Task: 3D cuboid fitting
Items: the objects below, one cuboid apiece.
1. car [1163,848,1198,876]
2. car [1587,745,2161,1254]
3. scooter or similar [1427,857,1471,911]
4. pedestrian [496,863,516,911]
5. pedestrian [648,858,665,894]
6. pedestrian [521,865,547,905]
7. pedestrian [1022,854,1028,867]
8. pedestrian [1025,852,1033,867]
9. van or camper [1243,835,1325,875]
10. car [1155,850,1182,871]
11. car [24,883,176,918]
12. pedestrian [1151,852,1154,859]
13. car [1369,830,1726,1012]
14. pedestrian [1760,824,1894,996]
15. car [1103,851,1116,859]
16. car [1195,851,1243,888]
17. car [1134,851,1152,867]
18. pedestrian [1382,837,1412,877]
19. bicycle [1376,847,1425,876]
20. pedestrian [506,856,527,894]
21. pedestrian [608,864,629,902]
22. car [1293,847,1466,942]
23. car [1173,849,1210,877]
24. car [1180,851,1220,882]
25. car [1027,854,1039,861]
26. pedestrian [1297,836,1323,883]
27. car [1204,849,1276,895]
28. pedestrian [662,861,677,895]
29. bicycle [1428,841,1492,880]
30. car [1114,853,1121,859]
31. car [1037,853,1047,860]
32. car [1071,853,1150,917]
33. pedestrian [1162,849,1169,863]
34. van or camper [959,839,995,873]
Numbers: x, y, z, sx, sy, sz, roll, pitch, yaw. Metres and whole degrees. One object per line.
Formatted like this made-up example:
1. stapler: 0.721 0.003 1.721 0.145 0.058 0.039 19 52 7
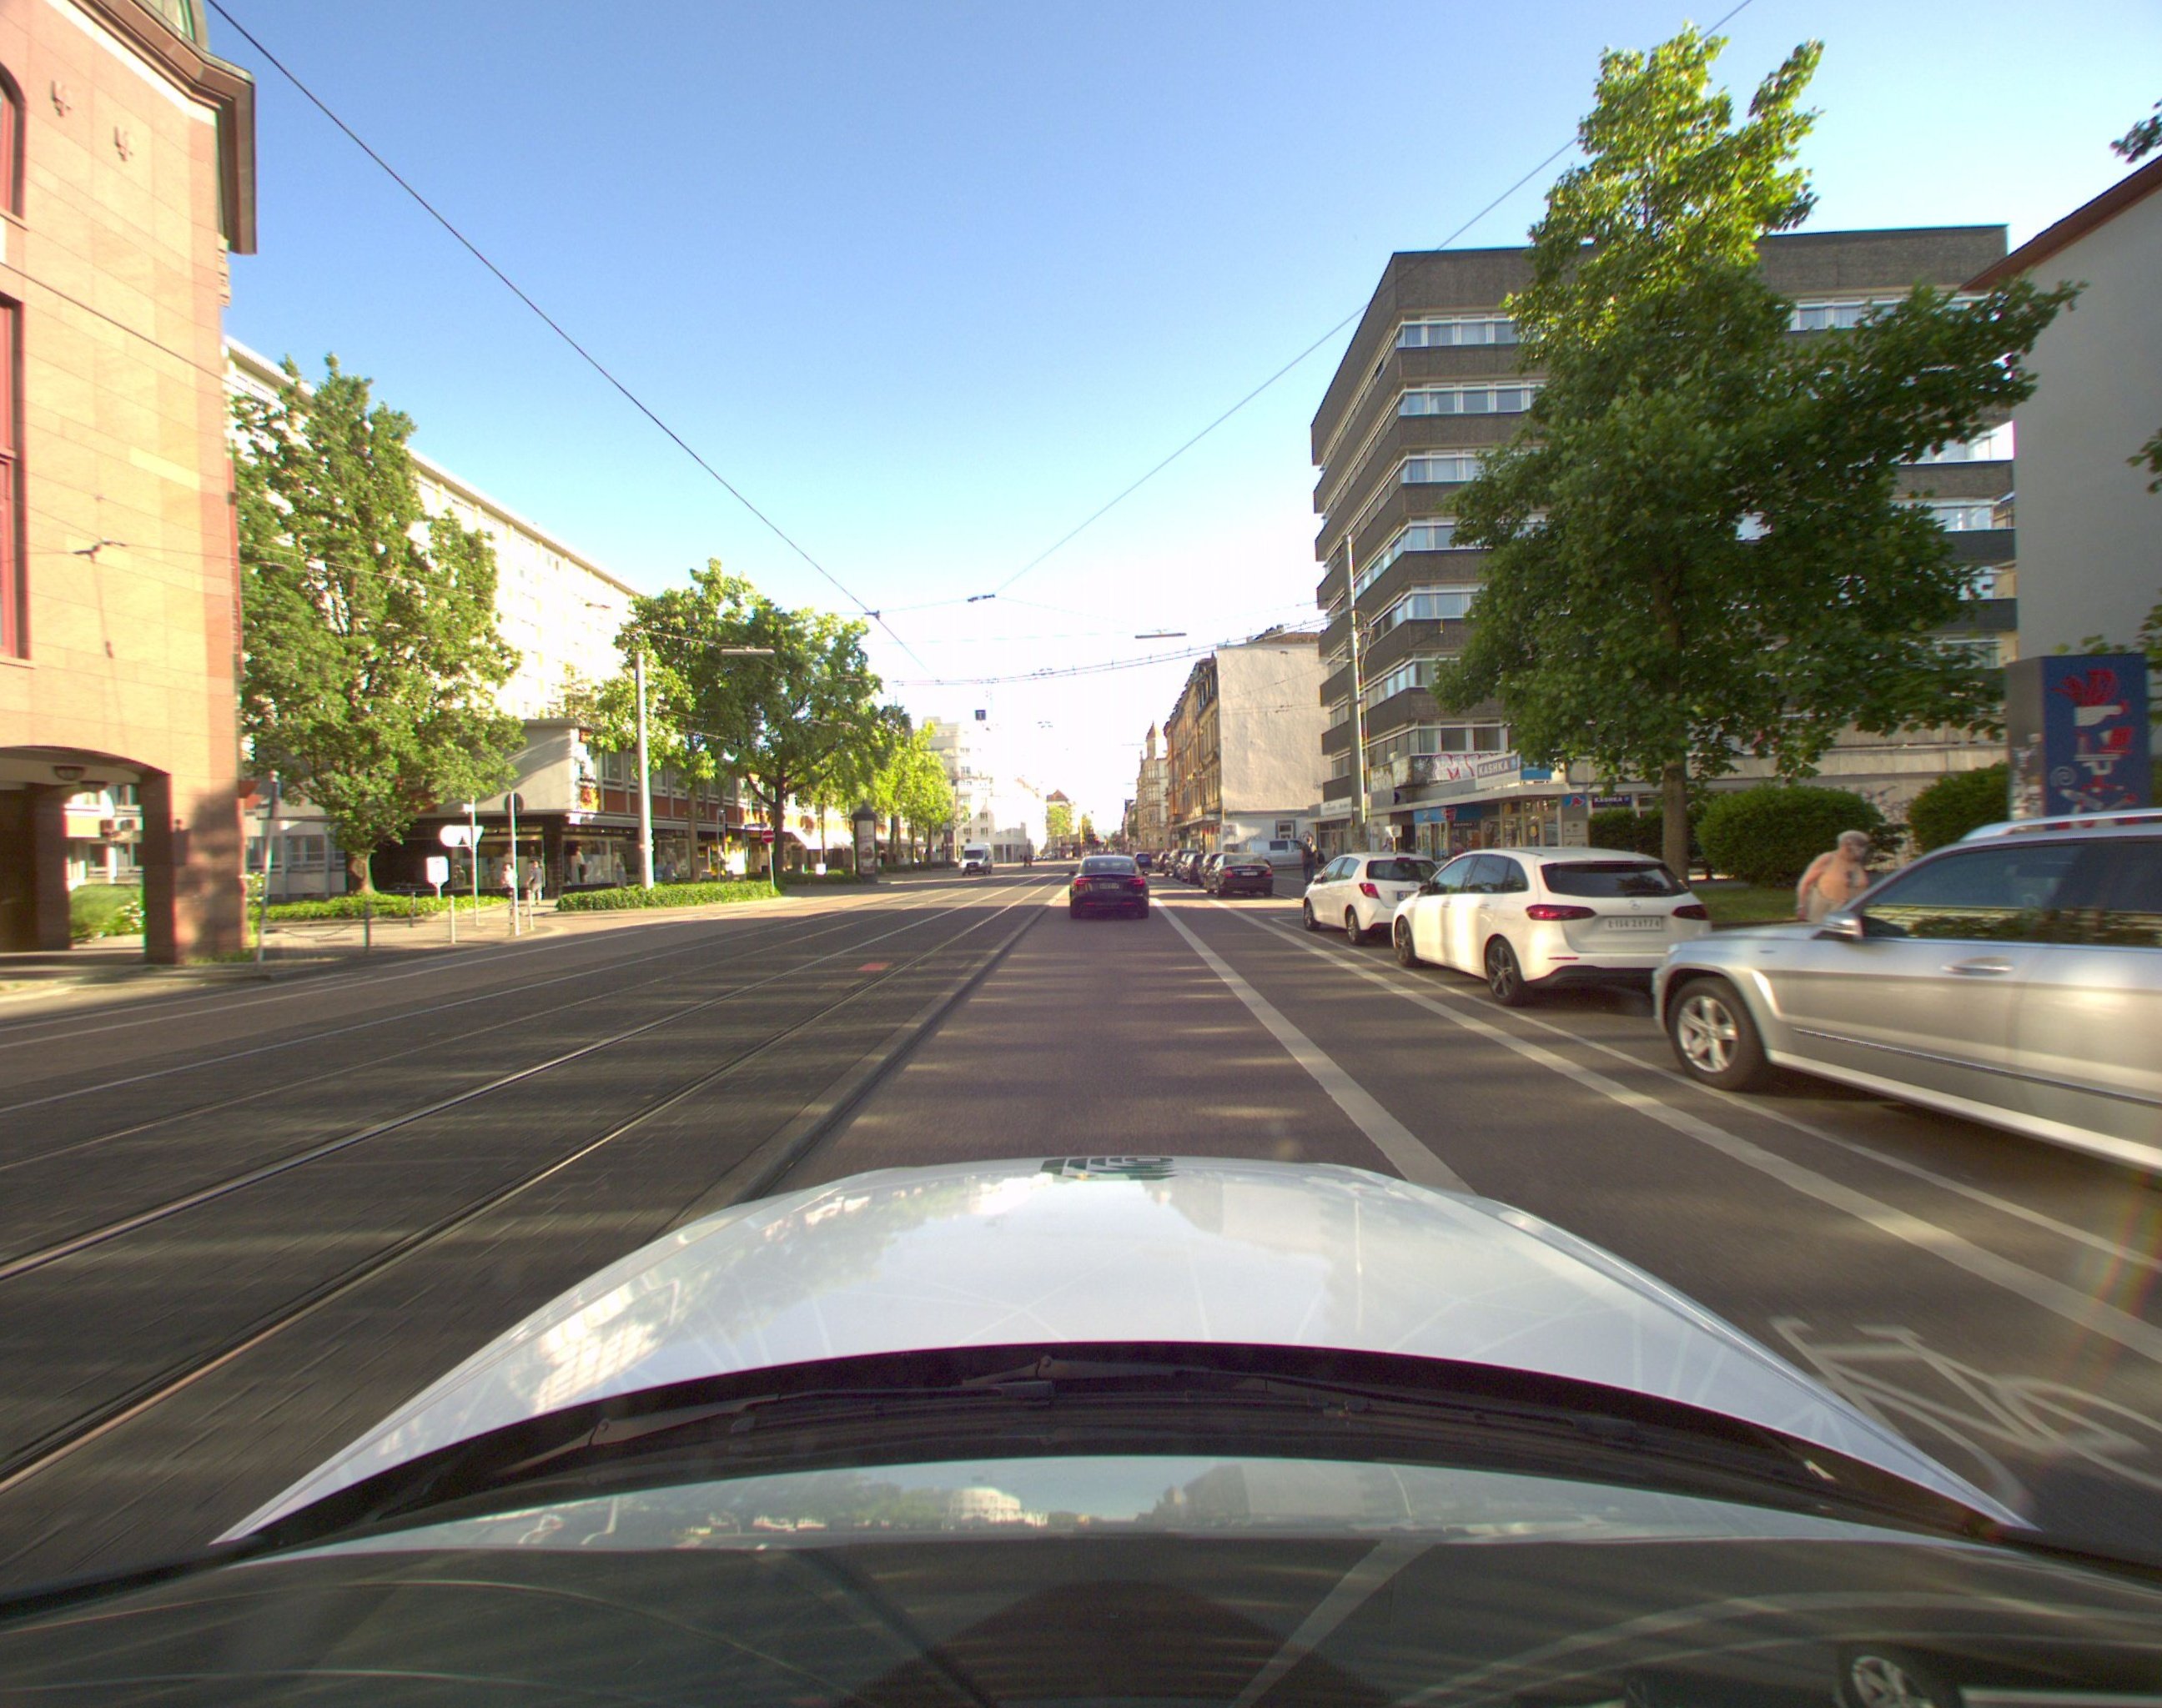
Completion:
1. car: 6.063 0.503 49.875 1.822 1.628 4.097 -1 -1 3
2. car: 4.838 0.518 3.859 1.919 1.834 4.710 0 0 -1
3. scooter or similar: 9.070 0.724 20.118 0.534 1.234 1.362 -6 -1 10
4. pedestrian: -25.624 1.460 36.278 0.607 2.066 0.660 1 0 -43
5. pedestrian: -22.244 1.171 42.674 0.590 1.872 0.537 0 0 -7
6. pedestrian: -23.729 1.335 35.302 0.517 1.694 0.714 -3 0 25
7. pedestrian: -6.656 0.745 97.488 0.700 1.501 0.794 -1 -1 -3
8. pedestrian: -6.010 0.629 94.488 0.841 1.695 0.796 0 0 1
9. van or camper: 12.661 0.056 51.003 4.621 2.136 1.990 -4 -1 5
10. car: 6.494 0.488 60.640 1.708 1.472 3.722 -2 -1 3
11. car: -52.033 2.436 43.417 1.990 1.554 5.197 0 0 -4
12. pedestrian: 12.361 0.244 140.389 0.439 1.221 0.389 -2 -1 1
13. car: 4.822 0.614 9.273 1.536 1.570 4.442 0 -1 0
14. pedestrian: 6.946 0.503 7.613 0.638 1.532 0.626 -2 0 5
15. car: 5.340 0.220 152.681 1.989 1.525 3.996 0 -1 -2
16. car: 5.786 0.660 34.418 1.572 1.447 3.311 -1 -1 3
17. car: 5.997 0.470 78.479 1.587 1.433 3.688 -2 -1 3
18. pedestrian: 13.851 0.110 35.723 1.143 1.728 1.050 0 0 26
19. bicycle: 13.742 0.317 35.023 2.189 1.219 0.797 0 -1 -31
20. pedestrian: -26.731 0.987 38.591 0.589 1.784 0.538 0 0 2
21. pedestrian: -22.844 1.428 40.225 0.624 1.847 0.673 0 0 -1
22. car: 5.101 0.648 14.487 1.597 1.443 3.883 -1 -1 -1
23. car: 6.048 0.515 44.839 1.573 1.444 3.914 -1 -1 1
24. car: 5.729 0.635 39.630 1.456 1.432 3.814 -1 -1 1
25. car: -9.620 0.718 161.960 1.986 1.368 4.001 -2 -1 2
26. pedestrian: 9.042 0.225 32.179 0.719 1.812 0.889 -2 -1 2
27. car: 5.378 0.591 28.047 1.704 1.457 4.551 0 -1 1
28. pedestrian: -21.635 1.254 42.844 0.545 1.802 0.587 0 0 -7
29. bicycle: 11.687 0.204 25.135 1.673 1.140 0.579 -2 -1 5
30. car: 9.831 0.627 220.728 1.838 1.592 4.002 -2 0 2
31. car: -8.879 0.550 186.062 1.986 1.495 4.002 -2 0 2
32. car: 0.673 0.673 19.685 1.714 1.405 3.710 0 0 1
33. pedestrian: 10.315 0.247 99.726 0.746 1.617 0.705 -2 -1 -1
34. van or camper: -8.718 0.183 69.145 2.133 2.654 6.878 -2 -1 0
